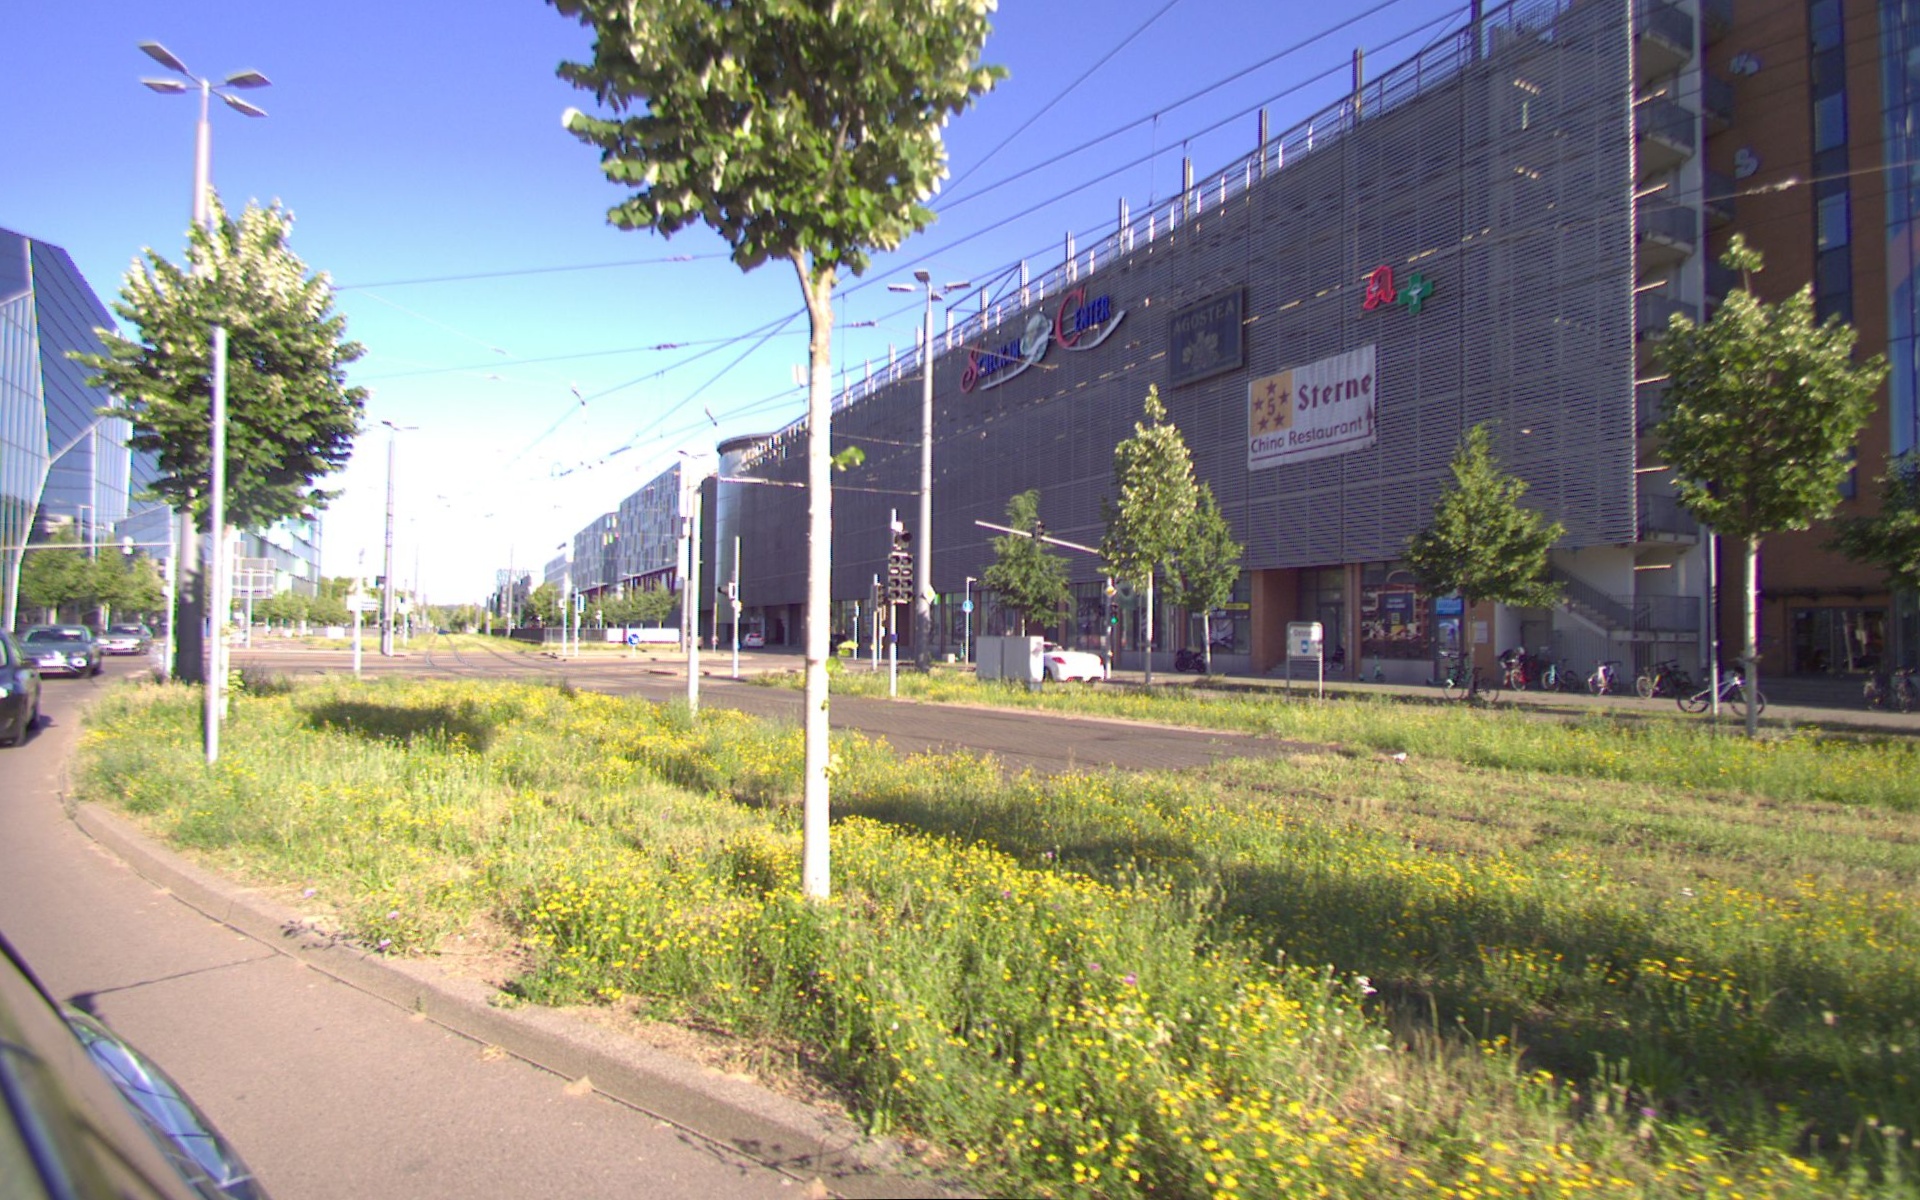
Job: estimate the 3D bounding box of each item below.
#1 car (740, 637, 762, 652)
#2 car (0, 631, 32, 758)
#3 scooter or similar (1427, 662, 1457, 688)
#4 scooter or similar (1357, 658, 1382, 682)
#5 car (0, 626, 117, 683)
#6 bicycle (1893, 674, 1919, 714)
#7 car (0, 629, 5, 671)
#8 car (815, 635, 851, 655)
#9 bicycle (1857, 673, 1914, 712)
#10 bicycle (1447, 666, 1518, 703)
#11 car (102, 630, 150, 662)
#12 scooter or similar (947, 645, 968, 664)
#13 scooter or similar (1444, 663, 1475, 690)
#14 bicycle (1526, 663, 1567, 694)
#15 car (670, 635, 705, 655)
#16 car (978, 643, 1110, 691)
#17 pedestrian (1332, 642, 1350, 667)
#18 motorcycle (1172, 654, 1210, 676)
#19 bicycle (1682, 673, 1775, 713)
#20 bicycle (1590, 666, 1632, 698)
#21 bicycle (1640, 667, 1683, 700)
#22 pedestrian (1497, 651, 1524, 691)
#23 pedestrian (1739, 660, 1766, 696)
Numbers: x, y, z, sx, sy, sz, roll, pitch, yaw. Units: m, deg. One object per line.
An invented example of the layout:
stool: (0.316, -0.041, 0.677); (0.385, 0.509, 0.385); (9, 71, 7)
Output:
car: (-20.189, 4.286, 97.712); (1.663, 1.382, 3.601); (1, -2, -18)
car: (-12.895, 1.111, 12.668); (1.664, 1.444, 4.159); (2, -3, -40)
scooter or similar: (17.010, 2.642, 35.718); (0.892, 0.900, 0.290); (0, -2, 13)
scooter or similar: (15.653, 2.674, 38.692); (0.286, 0.900, 0.904); (2, -3, -28)
car: (-26.403, 1.555, 29.625); (1.720, 1.516, 3.893); (4, -3, -26)
bicycle: (24.018, 2.340, 25.283); (1.741, 0.933, 0.492); (2, -3, -28)
car: (-33.066, 1.661, 33.412); (1.415, 1.457, 4.011); (2, -3, -32)
car: (-10.630, 3.759, 84.561); (1.558, 1.541, 3.761); (1, -2, -32)
bicycle: (23.672, 2.354, 25.883); (1.741, 0.933, 0.492); (2, -3, -28)
bicycle: (14.296, 2.301, 27.749); (0.380, 0.930, 1.776); (2, -3, -32)
car: (-38.823, 2.112, 47.162); (1.595, 1.440, 3.775); (1, -2, -37)
scooter or similar: (-0.144, 3.037, 56.564); (0.429, 1.050, 1.365); (1, -2, -40)
scooter or similar: (17.148, 2.615, 34.762); (0.891, 0.900, 0.290); (0, -2, 9)
bicycle: (18.487, 2.467, 31.903); (1.376, 0.933, 0.463); (2, -3, -28)
car: (-22.727, 3.769, 84.278); (1.781, 1.587, 4.307); (3, -3, -29)
car: (2.509, 2.027, 31.344); (1.781, 1.338, 4.417); (3, -3, -32)
pedestrian: (15.785, 2.259, 41.911); (0.557, 1.046, 0.425); (1, -2, -22)
motorcycle: (10.426, 2.912, 45.735); (0.421, 0.927, 2.031); (2, -2, -29)
bicycle: (18.766, 2.264, 24.754); (0.380, 0.875, 1.776); (2, -3, -32)
bicycle: (19.999, 2.502, 31.090); (1.376, 0.933, 0.463); (2, -3, -28)
bicycle: (20.743, 2.465, 29.927); (1.376, 0.933, 0.463); (2, -3, -28)
pedestrian: (18.171, 2.339, 33.385); (0.442, 1.299, 0.632); (2, -3, -32)
pedestrian: (24.067, 2.357, 30.725); (0.619, 1.063, 0.450); (2, -3, -32)
